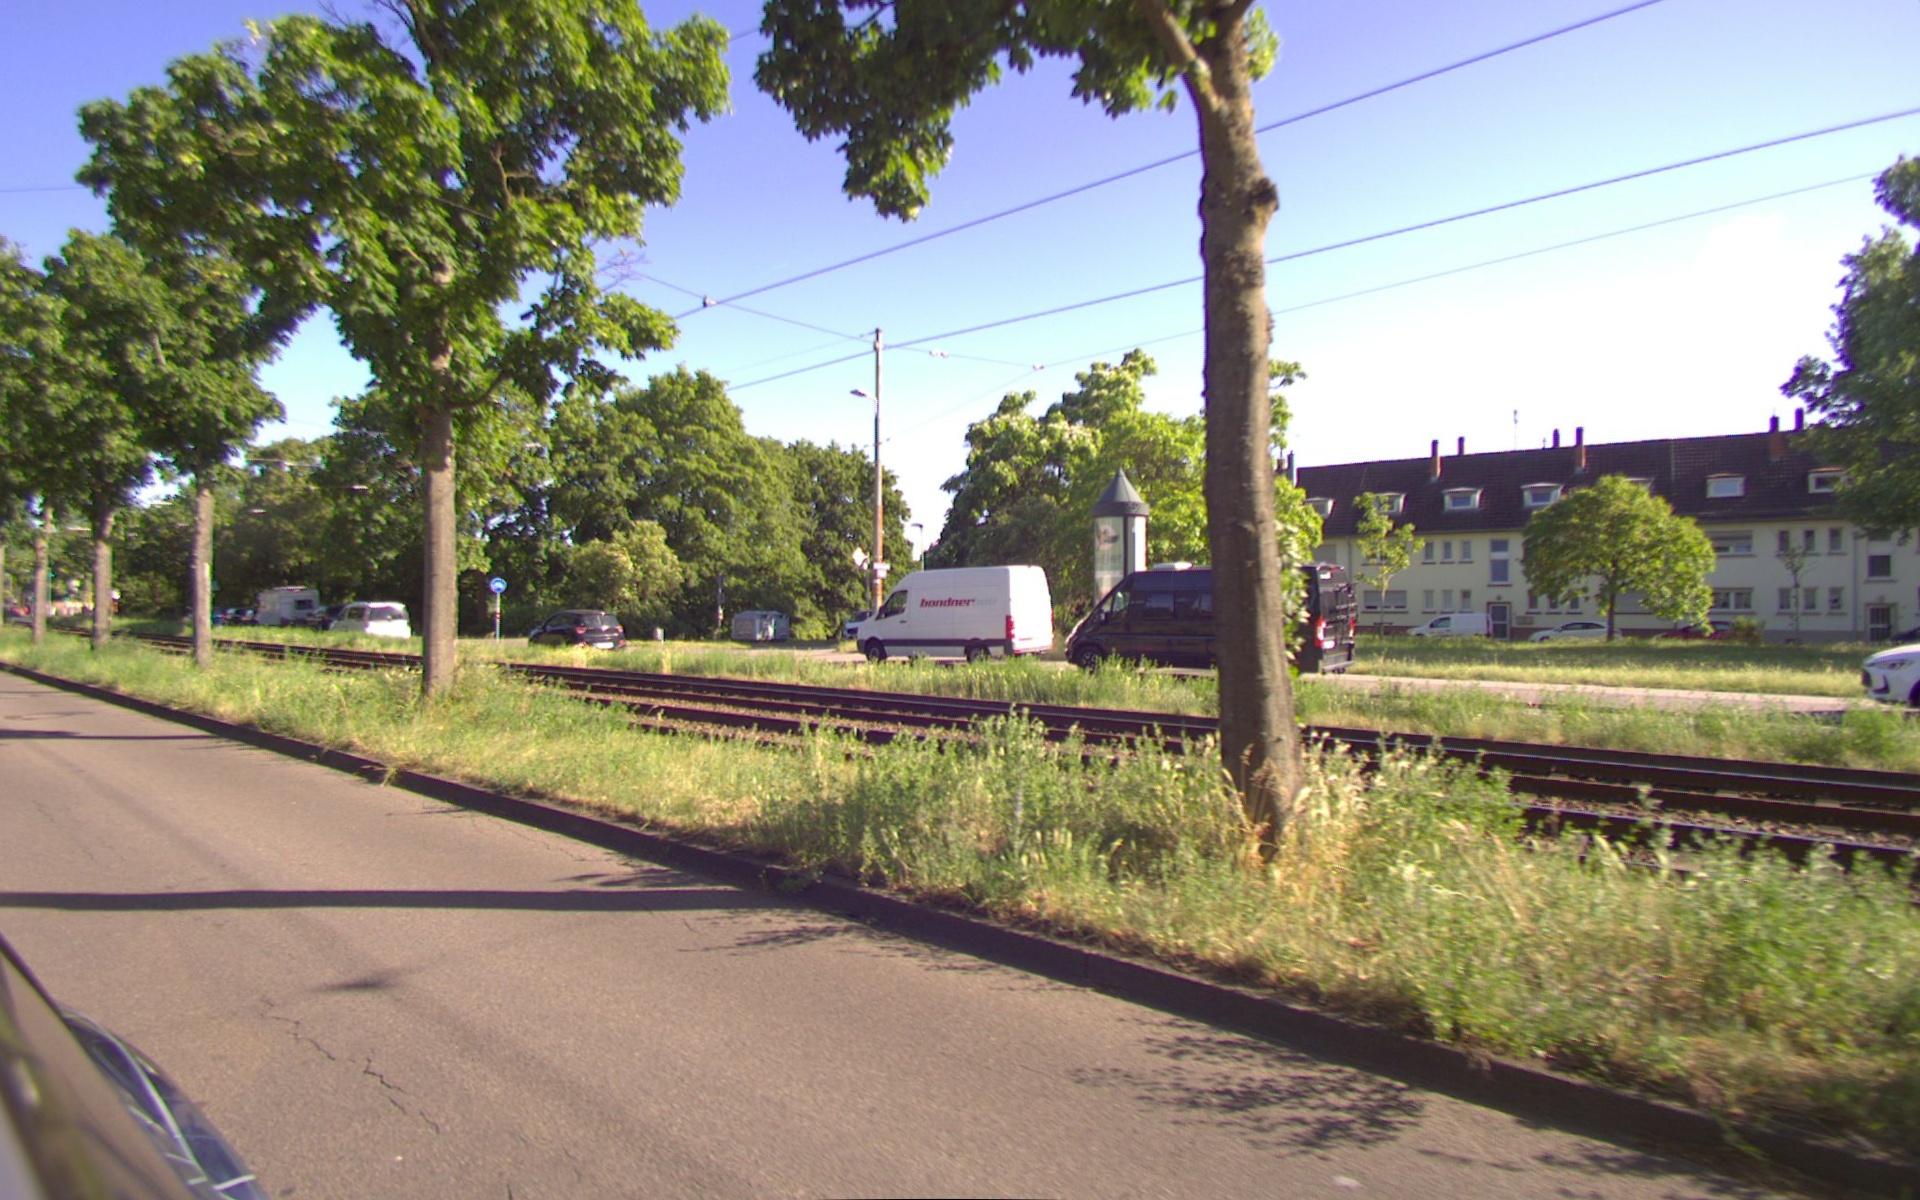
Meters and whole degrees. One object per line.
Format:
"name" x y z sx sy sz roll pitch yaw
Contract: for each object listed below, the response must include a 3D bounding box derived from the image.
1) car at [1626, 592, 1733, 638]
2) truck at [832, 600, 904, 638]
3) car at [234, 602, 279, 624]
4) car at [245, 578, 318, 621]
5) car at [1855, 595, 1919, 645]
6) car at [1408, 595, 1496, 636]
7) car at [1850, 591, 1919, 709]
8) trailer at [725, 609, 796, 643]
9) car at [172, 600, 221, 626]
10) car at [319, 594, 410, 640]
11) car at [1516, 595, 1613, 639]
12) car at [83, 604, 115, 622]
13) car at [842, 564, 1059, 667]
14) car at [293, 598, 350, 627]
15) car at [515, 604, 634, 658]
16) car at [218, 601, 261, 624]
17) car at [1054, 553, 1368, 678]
"car" 33.749 0.660 47.530 3.996 2.029 1.974 0 1 39
"truck" -5.113 1.030 57.072 2.069 1.882 4.908 0 1 21
"car" -48.970 0.889 70.395 3.999 1.445 1.692 0 1 42
"car" -43.899 -0.018 65.417 6.795 2.600 2.202 -1 1 41
"car" 40.764 0.833 43.014 3.996 2.029 1.974 0 1 39
"car" 25.834 0.765 53.120 3.987 2.029 1.978 0 1 33
"car" 15.318 0.706 13.789 4.772 1.619 1.804 0 1 41
"trailer" -9.833 1.240 50.084 1.741 1.515 3.734 0 1 21
"car" -45.449 0.745 60.224 3.818 1.405 1.541 0 1 41
"car" -24.912 0.659 42.291 4.979 1.757 1.792 0 1 41
"car" 29.969 0.805 50.172 3.992 2.029 1.976 0 1 36
"car" -81.551 1.232 95.879 4.441 1.539 1.709 0 1 42
"car" -0.396 0.347 27.656 6.133 2.515 1.981 0 1 41
"car" -38.192 0.713 60.508 4.530 1.635 1.606 0 1 41
"car" -11.901 0.904 31.173 3.750 1.543 1.972 -1 -1 42
"car" -52.477 0.882 73.654 4.282 1.575 1.748 0 1 43
"car" 5.333 0.269 22.325 6.462 2.394 2.160 0 1 41
